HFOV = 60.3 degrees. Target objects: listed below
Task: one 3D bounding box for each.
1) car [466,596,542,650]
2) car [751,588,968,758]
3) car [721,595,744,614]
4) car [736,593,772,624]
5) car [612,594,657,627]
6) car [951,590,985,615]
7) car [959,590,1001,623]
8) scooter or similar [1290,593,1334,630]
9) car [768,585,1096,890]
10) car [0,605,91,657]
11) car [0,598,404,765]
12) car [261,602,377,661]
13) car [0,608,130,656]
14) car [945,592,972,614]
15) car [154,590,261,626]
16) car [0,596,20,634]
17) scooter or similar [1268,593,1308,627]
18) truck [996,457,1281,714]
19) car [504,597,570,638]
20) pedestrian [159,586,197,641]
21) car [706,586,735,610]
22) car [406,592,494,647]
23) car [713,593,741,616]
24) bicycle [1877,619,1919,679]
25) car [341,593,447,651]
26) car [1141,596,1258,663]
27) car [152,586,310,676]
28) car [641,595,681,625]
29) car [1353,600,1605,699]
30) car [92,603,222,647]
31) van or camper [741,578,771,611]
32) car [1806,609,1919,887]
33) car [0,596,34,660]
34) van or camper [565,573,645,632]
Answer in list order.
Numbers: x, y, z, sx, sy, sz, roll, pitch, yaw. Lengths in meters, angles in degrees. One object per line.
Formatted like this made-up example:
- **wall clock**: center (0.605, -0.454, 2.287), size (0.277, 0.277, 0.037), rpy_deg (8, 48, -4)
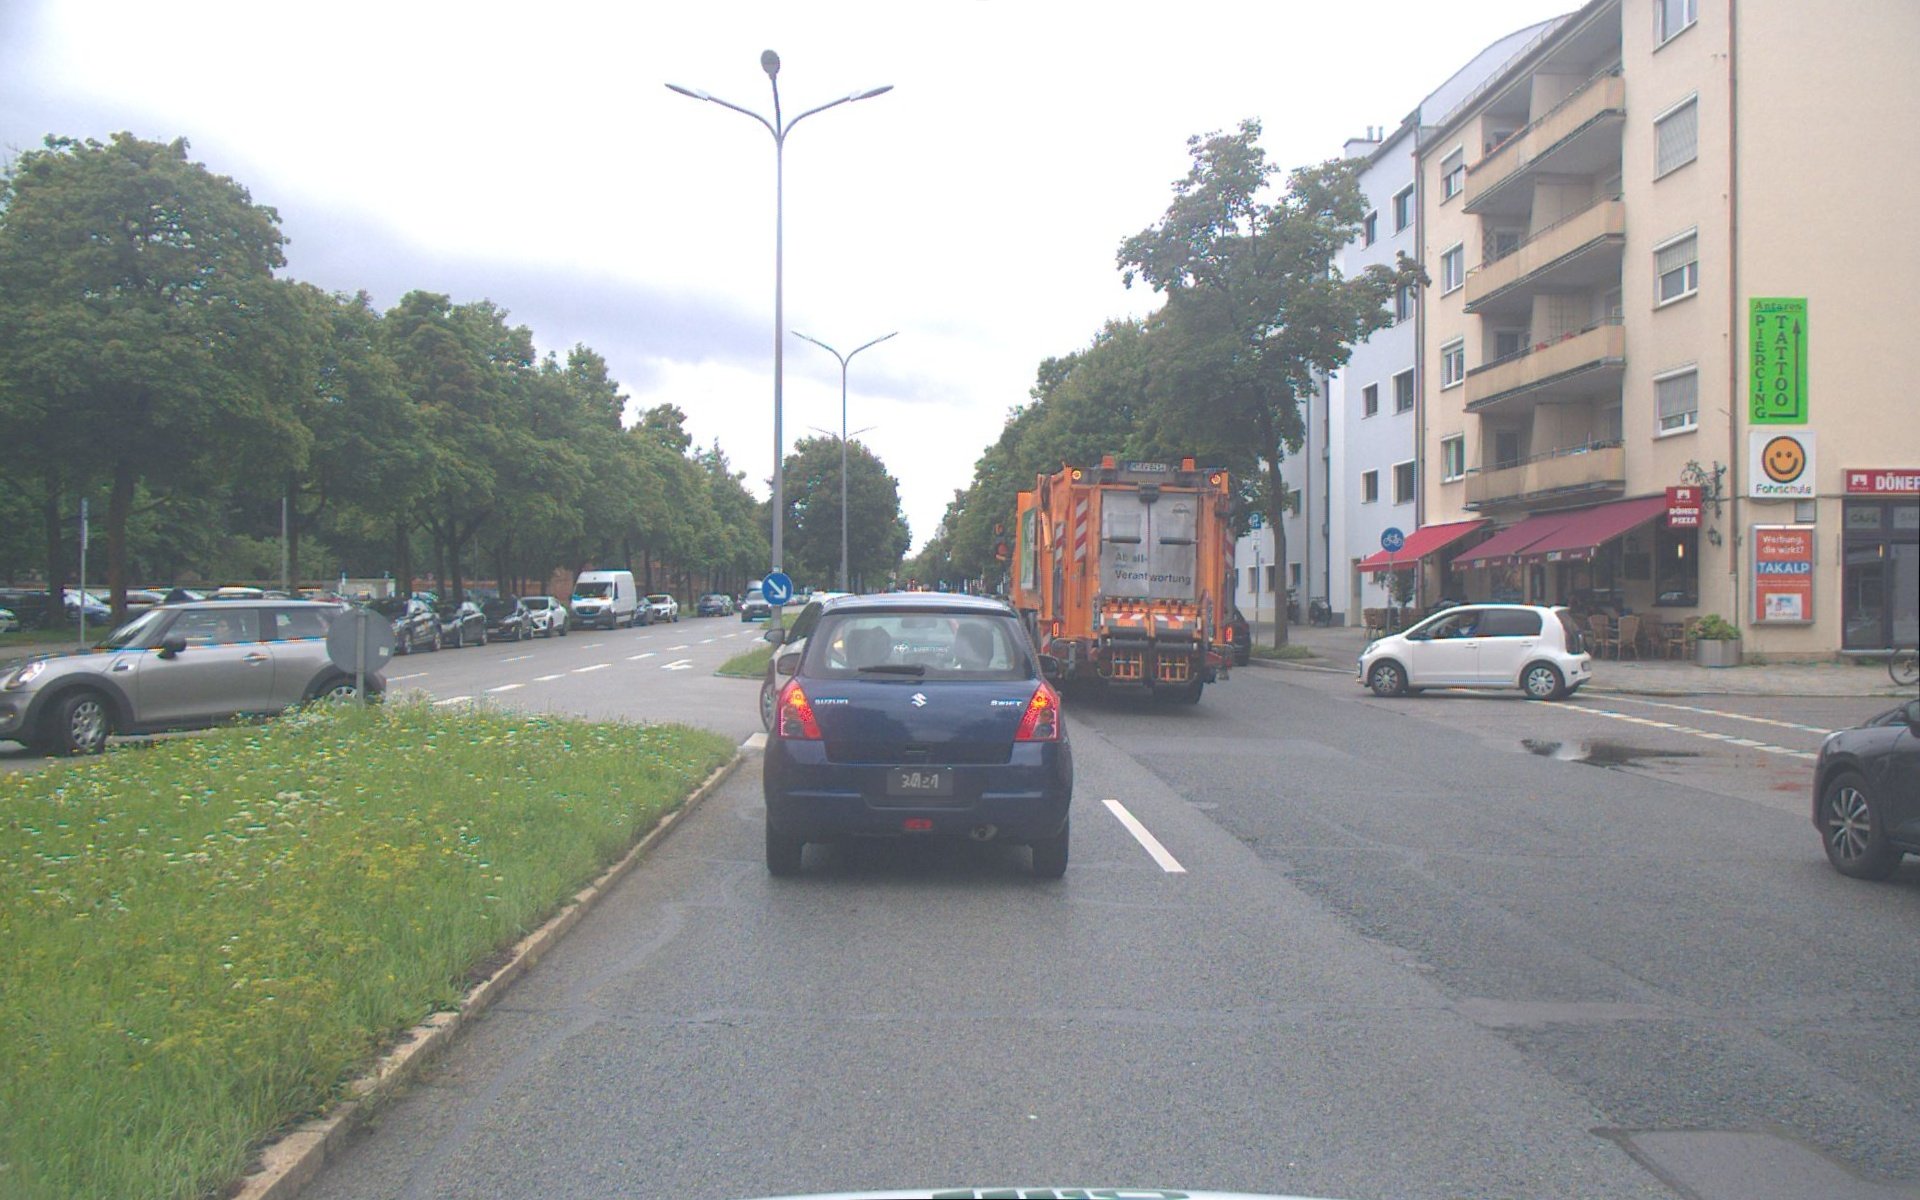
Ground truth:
- **car**: center (-15.518, 0.763, 56.455), size (1.600, 1.771, 3.877), rpy_deg (1, 0, -2)
- **car**: center (-1.081, 0.644, 16.501), size (1.422, 1.509, 3.090), rpy_deg (0, 0, -18)
- **car**: center (-19.846, 0.402, 144.511), size (1.600, 1.610, 3.877), rpy_deg (1, 0, -2)
- **car**: center (-10.965, 0.454, 88.238), size (1.600, 1.580, 3.877), rpy_deg (1, 0, -2)
- **car**: center (-16.465, 0.534, 83.827), size (1.600, 1.610, 3.877), rpy_deg (1, 0, -2)
- **car**: center (0.464, 0.129, 100.936), size (1.697, 1.457, 4.438), rpy_deg (1, 0, -5)
- **car**: center (0.877, 0.276, 75.691), size (1.723, 1.438, 4.461), rpy_deg (1, 0, -2)
- **scooter or similar**: center (13.063, 0.404, 61.510), size (1.012, 1.330, 2.754), rpy_deg (0, 0, -1)
- **car**: center (-0.221, 0.680, 10.304), size (1.648, 1.528, 3.917), rpy_deg (0, 0, -3)
- **car**: center (-28.112, 0.895, 48.998), size (3.793, 1.471, 1.670), rpy_deg (1, 0, -7)
- **car**: center (-7.719, 0.732, 16.680), size (3.696, 1.488, 1.664), rpy_deg (0, 0, -38)
- **car**: center (-15.421, 0.734, 39.943), size (1.559, 1.335, 3.379), rpy_deg (1, 0, -2)
- **car**: center (-29.009, 1.013, 53.146), size (3.793, 1.471, 1.670), rpy_deg (1, 0, -7)
- **car**: center (-0.094, 0.205, 111.324), size (1.648, 1.408, 3.917), rpy_deg (1, 0, -2)
- **car**: center (-32.097, 0.339, 70.610), size (3.793, 1.471, 1.670), rpy_deg (1, 0, -7)
- **car**: center (-39.849, 0.565, 65.151), size (4.596, 1.471, 1.672), rpy_deg (1, 0, -1)
- **scooter or similar**: center (12.953, 0.379, 65.457), size (1.012, 1.330, 2.754), rpy_deg (0, 0, -1)
- **truck**: center (2.397, -0.202, 25.725), size (2.978, 3.245, 9.128), rpy_deg (1, 0, -3)
- **car**: center (-15.754, 0.618, 61.784), size (1.600, 1.456, 3.877), rpy_deg (1, 0, -2)
- **pedestrian**: center (-22.314, 0.385, 47.200), size (0.713, 1.561, 0.720), rpy_deg (1, 0, -1)
- **car**: center (-16.527, -0.141, 114.268), size (1.600, 1.610, 3.877), rpy_deg (1, 0, -2)
- **car**: center (-15.385, 0.577, 50.081), size (1.559, 1.585, 3.877), rpy_deg (1, 0, -2)
- **car**: center (-16.925, 0.323, 120.407), size (1.600, 1.610, 3.877), rpy_deg (1, 0, -2)
- **bicycle**: center (16.277, 0.821, 27.466), size (1.810, 0.974, 0.557), rpy_deg (1, 0, -3)
- **car**: center (-15.218, 0.562, 44.646), size (1.634, 1.471, 3.877), rpy_deg (1, 0, -2)
- **car**: center (5.536, 0.652, 38.711), size (1.829, 1.442, 4.220), rpy_deg (0, 0, -5)
- **car**: center (-15.173, 0.614, 34.626), size (1.682, 1.771, 3.877), rpy_deg (1, 0, -2)
- **car**: center (-16.526, 0.533, 91.475), size (1.600, 1.610, 3.877), rpy_deg (1, 0, -2)
- **car**: center (8.246, 0.740, 26.315), size (3.484, 1.442, 1.867), rpy_deg (0, 0, 32)
- **car**: center (-28.405, 0.879, 58.593), size (3.793, 1.471, 1.670), rpy_deg (1, 0, -7)
- **van or camper**: center (-21.282, -0.565, 172.566), size (2.510, 3.353, 6.934), rpy_deg (1, 0, -2)
- **car**: center (5.987, 0.823, 8.206), size (1.584, 1.491, 3.673), rpy_deg (2, 0, -2)
- **car**: center (-28.263, 0.741, 46.137), size (3.844, 1.748, 1.670), rpy_deg (1, 0, -7)
- **van or camper**: center (-16.210, 0.105, 75.956), size (2.074, 2.525, 7.447), rpy_deg (1, 0, -1)
